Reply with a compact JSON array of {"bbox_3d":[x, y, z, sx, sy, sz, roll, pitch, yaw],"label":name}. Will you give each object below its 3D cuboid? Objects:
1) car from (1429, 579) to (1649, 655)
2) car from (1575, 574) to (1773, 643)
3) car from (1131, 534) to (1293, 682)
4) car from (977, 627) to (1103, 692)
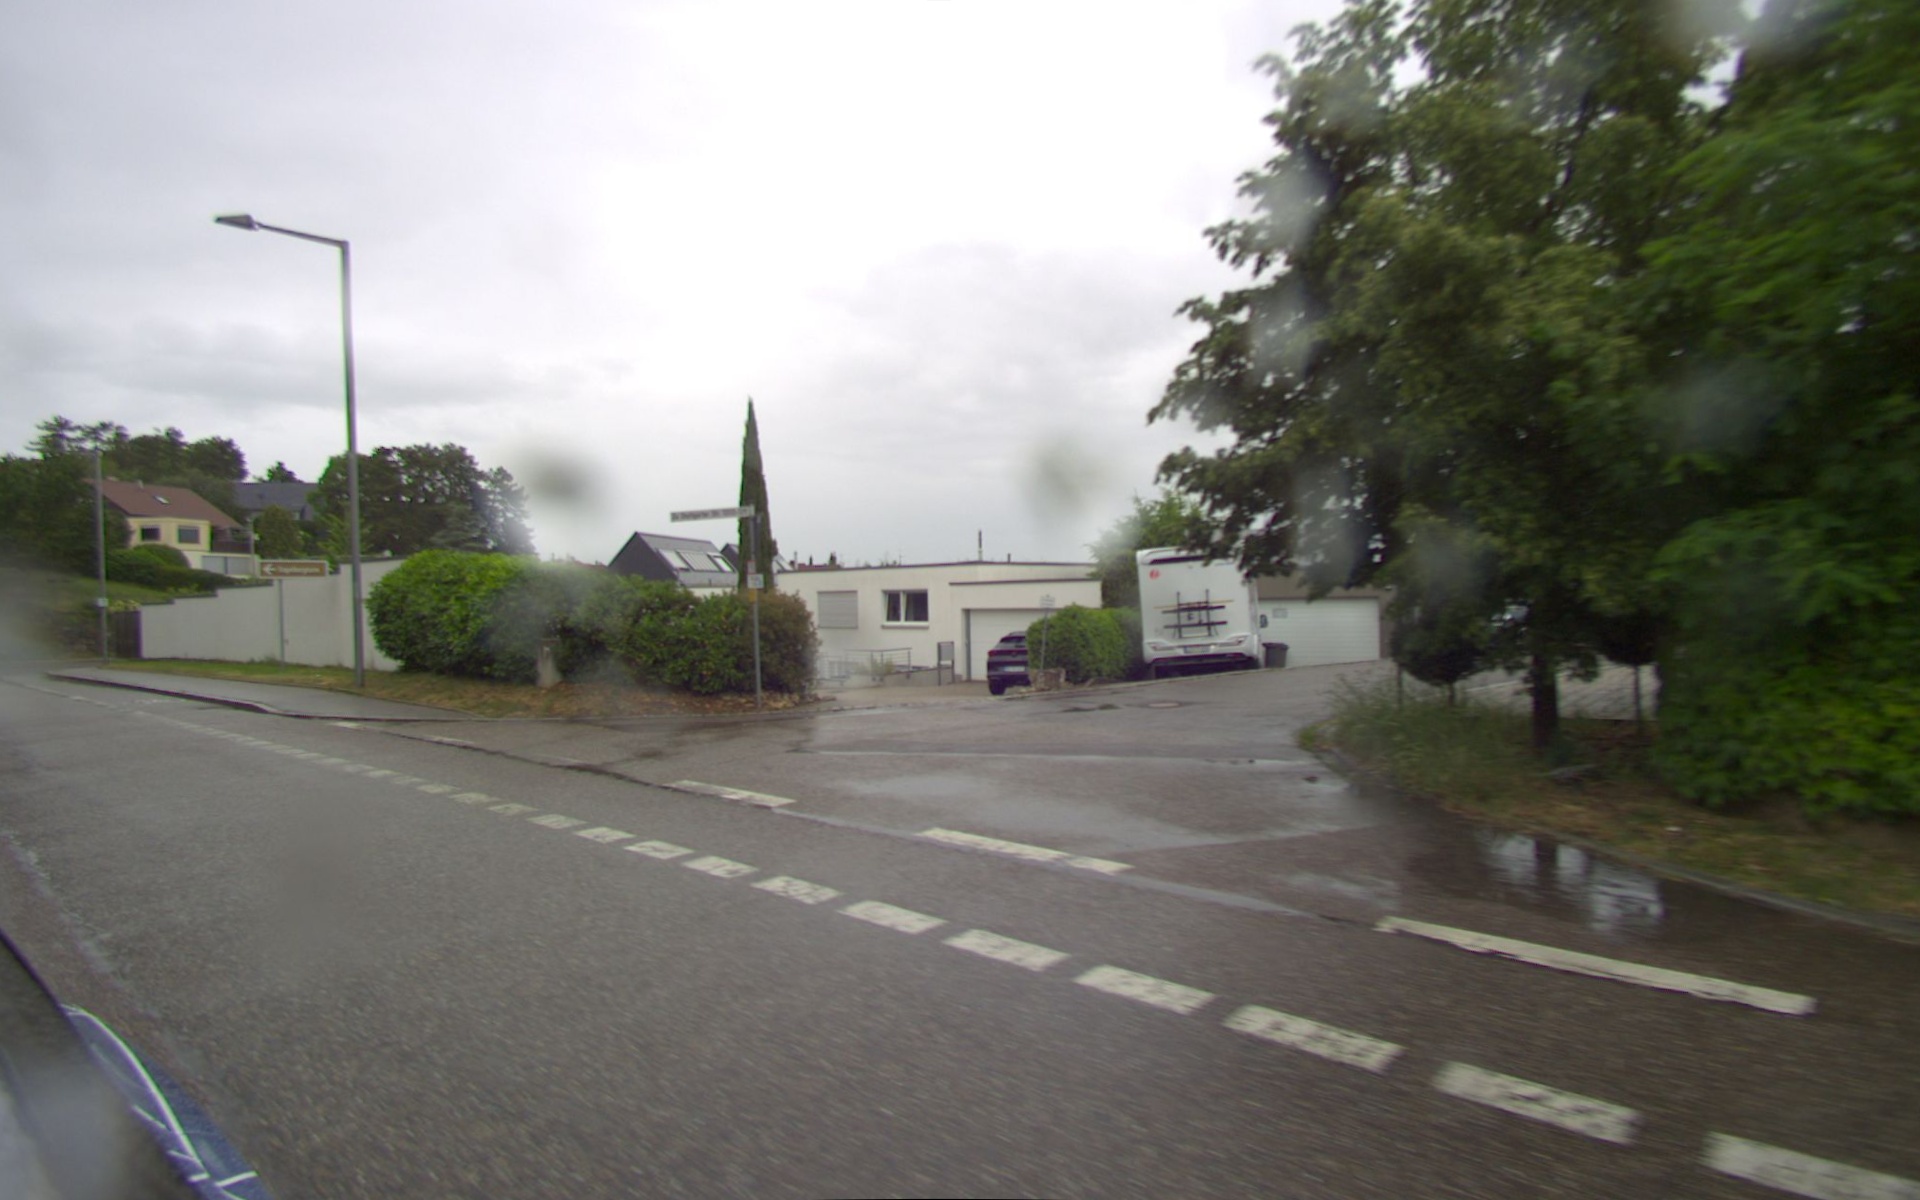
[{"bbox_3d":[11.867,0.314,20.780,3.931,1.373,1.880,-1,0,-23],"label":"car"},{"bbox_3d":[15.847,0.173,22.476,3.814,1.384,1.754,-1,0,-22],"label":"car"},{"bbox_3d":[6.287,0.451,24.313,2.806,2.903,7.469,-1,-5,22],"label":"car"},{"bbox_3d":[2.040,1.469,24.774,1.863,1.439,3.966,-1,-4,24],"label":"car"}]
